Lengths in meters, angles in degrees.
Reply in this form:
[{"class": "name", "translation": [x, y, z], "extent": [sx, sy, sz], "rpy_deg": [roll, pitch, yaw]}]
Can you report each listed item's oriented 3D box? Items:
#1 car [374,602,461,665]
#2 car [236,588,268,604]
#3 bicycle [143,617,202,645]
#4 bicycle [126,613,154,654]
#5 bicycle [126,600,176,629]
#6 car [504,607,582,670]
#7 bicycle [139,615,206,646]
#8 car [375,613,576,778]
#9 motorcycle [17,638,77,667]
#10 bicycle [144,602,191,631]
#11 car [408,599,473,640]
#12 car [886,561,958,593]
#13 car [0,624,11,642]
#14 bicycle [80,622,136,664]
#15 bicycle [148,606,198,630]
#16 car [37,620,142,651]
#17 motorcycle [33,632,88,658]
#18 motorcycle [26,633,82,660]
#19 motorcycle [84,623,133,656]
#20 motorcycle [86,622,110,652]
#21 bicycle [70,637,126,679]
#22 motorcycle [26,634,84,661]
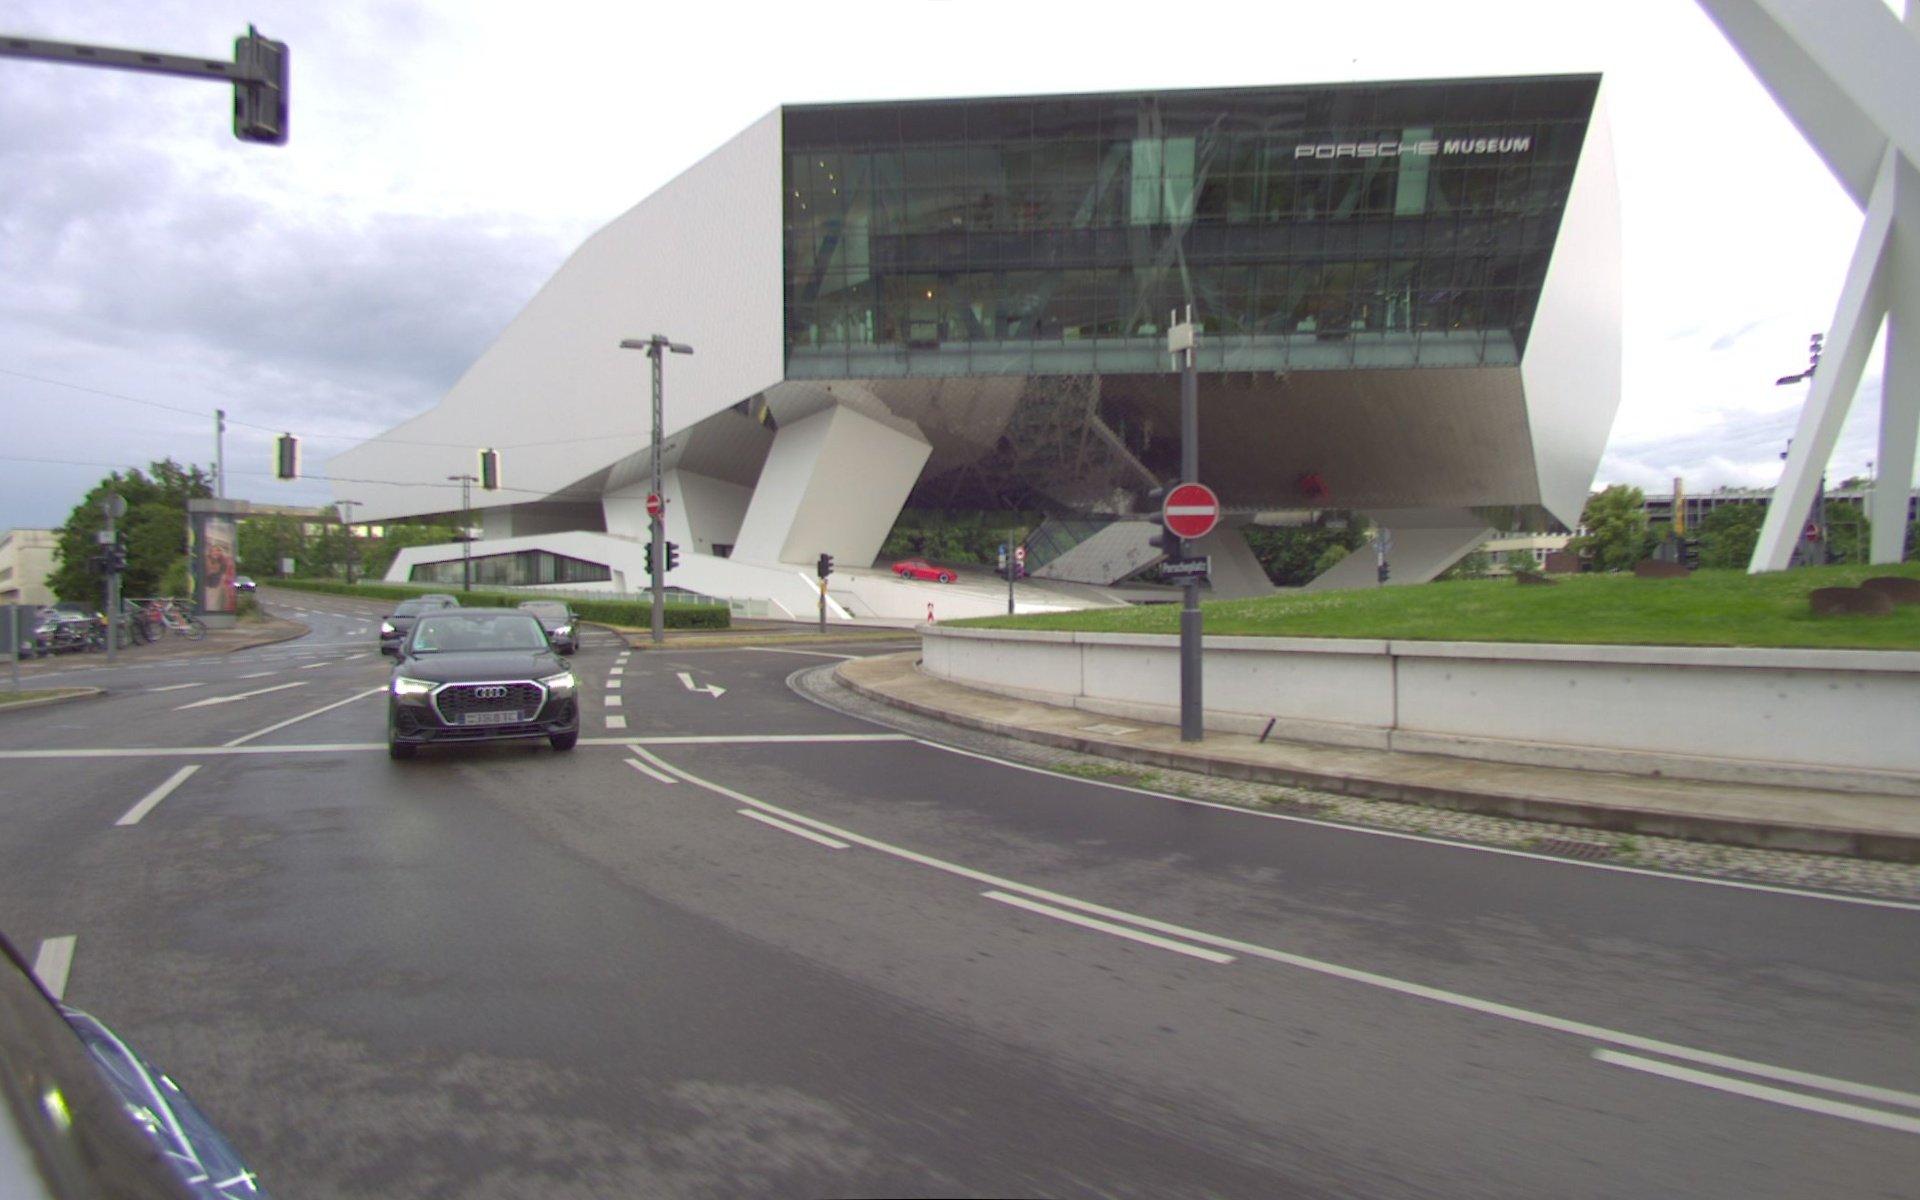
[{"class": "car", "translation": [-15.595, 0.902, 29.263], "extent": [1.665, 1.518, 4.024], "rpy_deg": [-1, 2, -21]}, {"class": "car", "translation": [-69.315, -0.341, 99.106], "extent": [4.303, 1.449, 1.792], "rpy_deg": [-2, -1, 44]}, {"class": "bicycle", "translation": [-27.789, 1.081, 35.726], "extent": [1.589, 0.929, 0.423], "rpy_deg": [0, 0, -29]}, {"class": "bicycle", "translation": [-25.953, 1.036, 32.039], "extent": [0.394, 1.184, 2.021], "rpy_deg": [-1, 2, -31]}, {"class": "bicycle", "translation": [-32.857, 0.594, 41.100], "extent": [0.451, 1.164, 1.522], "rpy_deg": [3, 1, 45]}, {"class": "car", "translation": [-11.741, 1.016, 28.742], "extent": [1.787, 1.449, 4.316], "rpy_deg": [-1, 2, -19]}, {"class": "bicycle", "translation": [-26.074, 0.990, 33.545], "extent": [1.716, 0.969, 0.423], "rpy_deg": [-1, 2, -33]}, {"class": "car", "translation": [-5.743, 0.941, 11.800], "extent": [1.727, 1.530, 4.408], "rpy_deg": [2, -1, -29]}, {"class": "motorcycle", "translation": [-33.750, 1.920, 37.419], "extent": [0.482, 0.928, 1.594], "rpy_deg": [1, 3, 42]}, {"class": "bicycle", "translation": [-31.428, 0.644, 40.151], "extent": [0.440, 1.082, 1.453], "rpy_deg": [2, 1, 18]}, {"class": "car", "translation": [-21.303, 0.757, 41.428], "extent": [1.721, 1.485, 4.079], "rpy_deg": [-2, 2, -36]}, {"class": "car", "translation": [-2.331, -1.421, 63.000], "extent": [4.191, 1.394, 1.998], "rpy_deg": [7, 1, 3]}, {"class": "car", "translation": [-81.913, 2.810, 84.244], "extent": [1.717, 1.436, 3.953], "rpy_deg": [-1, 1, 35]}, {"class": "bicycle", "translation": [-24.918, 1.248, 29.624], "extent": [0.342, 1.092, 1.747], "rpy_deg": [0, 2, -7]}, {"class": "bicycle", "translation": [-31.981, 0.715, 41.139], "extent": [0.481, 0.929, 1.697], "rpy_deg": [1, 1, 13]}, {"class": "car", "translation": [-46.413, 1.865, 54.046], "extent": [3.931, 1.436, 1.726], "rpy_deg": [-1, 0, -26]}, {"class": "motorcycle", "translation": [-36.657, 1.821, 41.271], "extent": [0.420, 0.928, 1.598], "rpy_deg": [1, 3, 35]}, {"class": "motorcycle", "translation": [-36.226, 1.845, 40.487], "extent": [0.420, 0.928, 1.598], "rpy_deg": [1, 3, 35]}, {"class": "motorcycle", "translation": [-26.536, 1.206, 31.569], "extent": [0.538, 0.902, 1.750], "rpy_deg": [0, 2, -18]}, {"class": "motorcycle", "translation": [-27.767, 1.180, 32.596], "extent": [0.427, 0.897, 1.268], "rpy_deg": [-1, 2, -34]}, {"class": "bicycle", "translation": [-25.528, 1.713, 30.001], "extent": [0.342, 1.092, 1.747], "rpy_deg": [0, 2, -7]}, {"class": "motorcycle", "translation": [-35.342, 1.849, 39.536], "extent": [0.421, 0.928, 1.597], "rpy_deg": [1, 3, 36]}]
